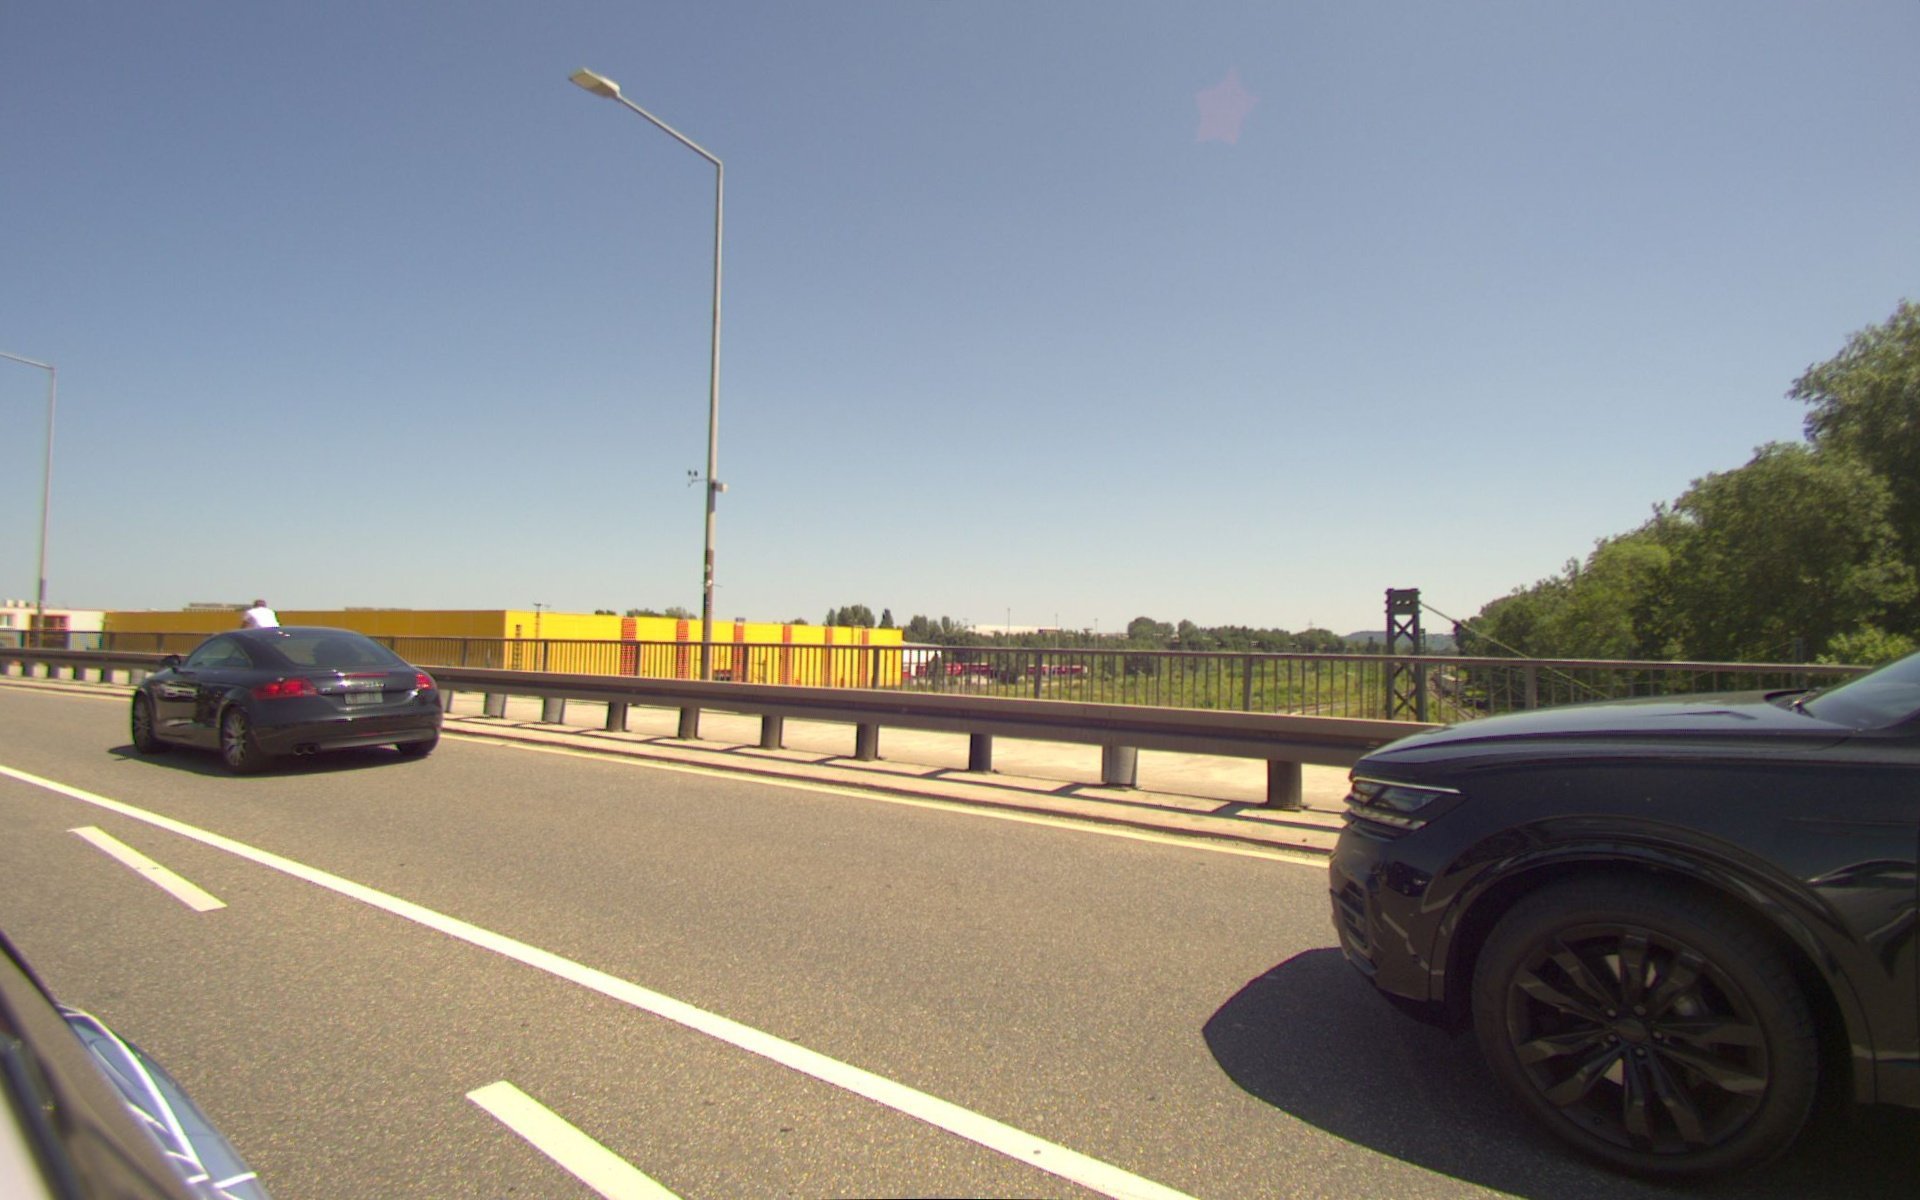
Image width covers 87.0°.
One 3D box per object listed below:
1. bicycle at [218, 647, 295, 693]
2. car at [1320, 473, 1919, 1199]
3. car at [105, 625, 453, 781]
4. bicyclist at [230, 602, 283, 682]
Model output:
[{"bbox_3d":[-13.990,1.366,20.113,1.986,0.840,0.583,-1,-1,35],"label":"bicycle"},{"bbox_3d":[3.459,0.562,2.280,4.610,1.686,1.946,-1,-1,40],"label":"car"},{"bbox_3d":[-7.146,0.927,10.509,3.963,1.318,1.664,-1,-1,34],"label":"car"},{"bbox_3d":[-13.982,0.822,20.114,0.894,1.533,0.578,-1,-1,35],"label":"bicyclist"}]
